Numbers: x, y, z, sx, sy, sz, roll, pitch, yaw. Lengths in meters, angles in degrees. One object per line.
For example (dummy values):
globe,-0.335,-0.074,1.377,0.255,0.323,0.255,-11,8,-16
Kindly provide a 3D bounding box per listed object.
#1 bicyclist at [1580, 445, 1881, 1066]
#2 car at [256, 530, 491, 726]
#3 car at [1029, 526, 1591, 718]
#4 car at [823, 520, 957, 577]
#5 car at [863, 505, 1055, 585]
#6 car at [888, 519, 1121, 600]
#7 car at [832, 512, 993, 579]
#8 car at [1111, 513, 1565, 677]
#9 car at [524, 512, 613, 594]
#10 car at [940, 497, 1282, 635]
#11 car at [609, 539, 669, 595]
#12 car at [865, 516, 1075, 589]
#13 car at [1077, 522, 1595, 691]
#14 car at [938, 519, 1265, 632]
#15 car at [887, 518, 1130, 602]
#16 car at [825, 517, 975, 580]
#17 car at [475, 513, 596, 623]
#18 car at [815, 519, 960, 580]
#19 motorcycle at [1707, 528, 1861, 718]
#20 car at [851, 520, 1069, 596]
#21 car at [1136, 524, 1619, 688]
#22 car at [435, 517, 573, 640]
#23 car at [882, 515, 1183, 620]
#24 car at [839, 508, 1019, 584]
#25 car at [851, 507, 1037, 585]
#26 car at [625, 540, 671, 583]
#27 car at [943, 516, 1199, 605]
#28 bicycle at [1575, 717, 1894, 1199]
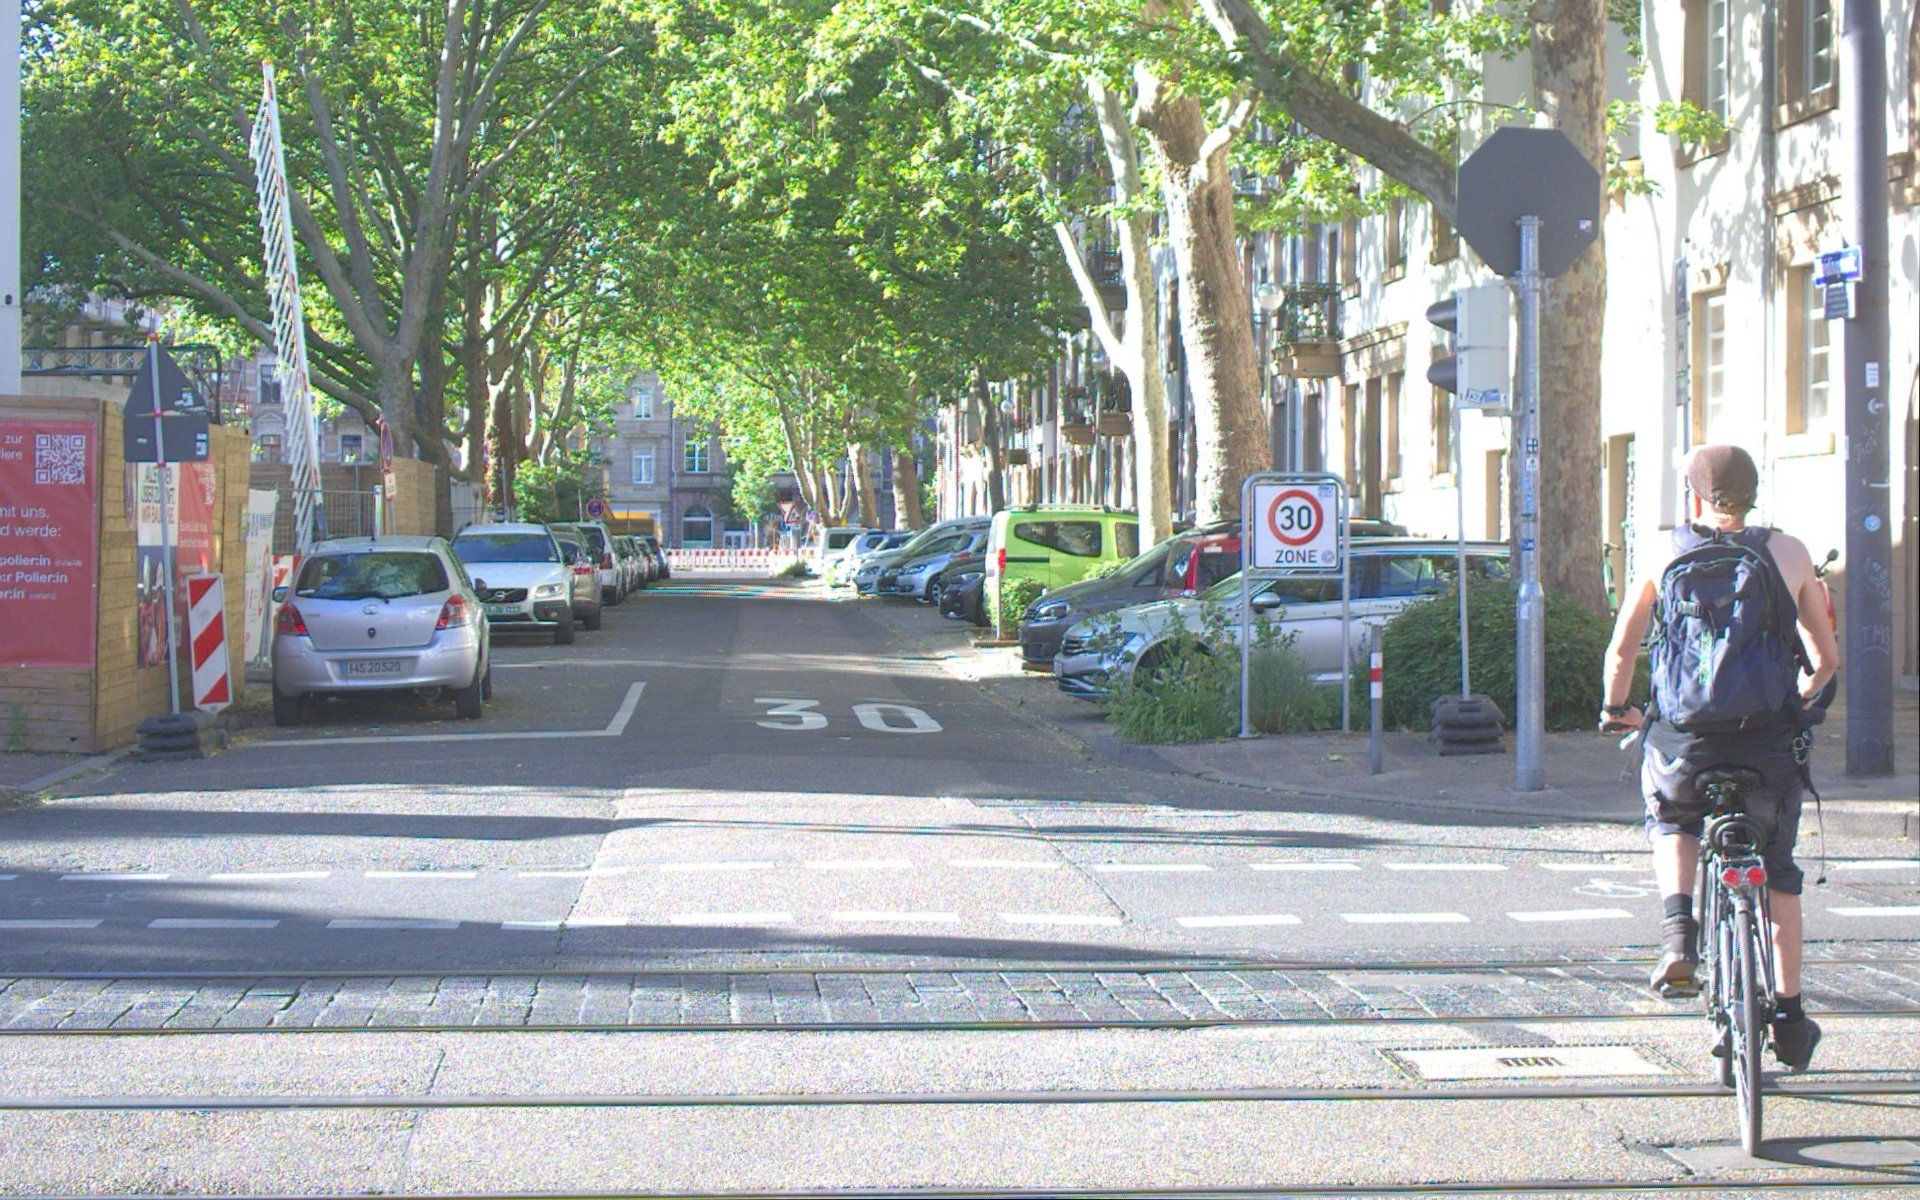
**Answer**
bicyclist,1.962,0.376,8.829,0.676,1.508,0.668,2,1,10
car,-4.930,0.181,29.304,1.643,1.489,4.001,-2,1,-6
car,2.894,0.167,28.996,4.461,1.565,1.729,0,1,-5
car,-2.401,-1.767,117.442,4.461,1.891,1.729,0,1,-5
car,-0.046,-1.324,82.324,4.461,1.891,1.729,0,1,-5
car,0.857,-0.805,67.949,4.461,1.565,1.729,0,1,-5
car,-1.379,-1.554,97.858,4.461,1.891,1.729,0,1,-5
car,3.913,-0.067,35.984,4.461,1.665,1.729,0,1,-5
car,-7.693,-0.937,67.790,1.665,1.557,4.617,0,1,-6
car,2.030,-0.472,46.944,4.461,1.830,1.729,0,1,-5
car,-9.224,-0.963,98.569,1.665,1.557,4.220,0,1,-6
car,0.196,-1.042,75.007,4.461,1.565,1.729,0,1,-5
car,3.394,0.042,31.487,4.461,1.495,1.729,0,1,-5
car,1.981,-0.361,48.964,4.461,1.565,1.729,0,1,-5
car,0.900,-0.772,65.471,4.461,1.565,1.729,0,1,-5
car,-1.850,-1.577,105.276,4.461,1.891,1.729,0,1,-5
car,-6.271,-0.507,51.098,1.665,1.557,4.520,0,1,-6
car,-2.305,-1.594,108.301,4.461,1.891,1.729,0,1,-5
motorcycle,5.979,0.144,25.023,0.513,1.328,1.764,0,1,-6
car,-0.024,-0.887,72.671,4.461,1.565,1.729,0,1,-5
car,4.067,0.040,33.904,4.461,1.565,1.729,0,1,-5
car,-5.982,-0.313,45.400,1.665,1.557,4.001,0,1,-6
car,1.081,-0.508,52.854,4.461,1.565,1.729,0,1,-5
car,-0.814,-1.384,87.926,4.461,1.891,1.729,0,1,-5
car,-0.419,-1.331,85.075,4.461,1.891,1.729,0,1,-5
car,-11.654,-1.441,128.387,1.665,1.557,4.220,0,1,-6
car,1.990,-0.727,62.329,4.461,1.565,1.729,0,1,-5
bicycle,1.966,0.869,8.919,0.690,1.013,1.906,2,1,10
